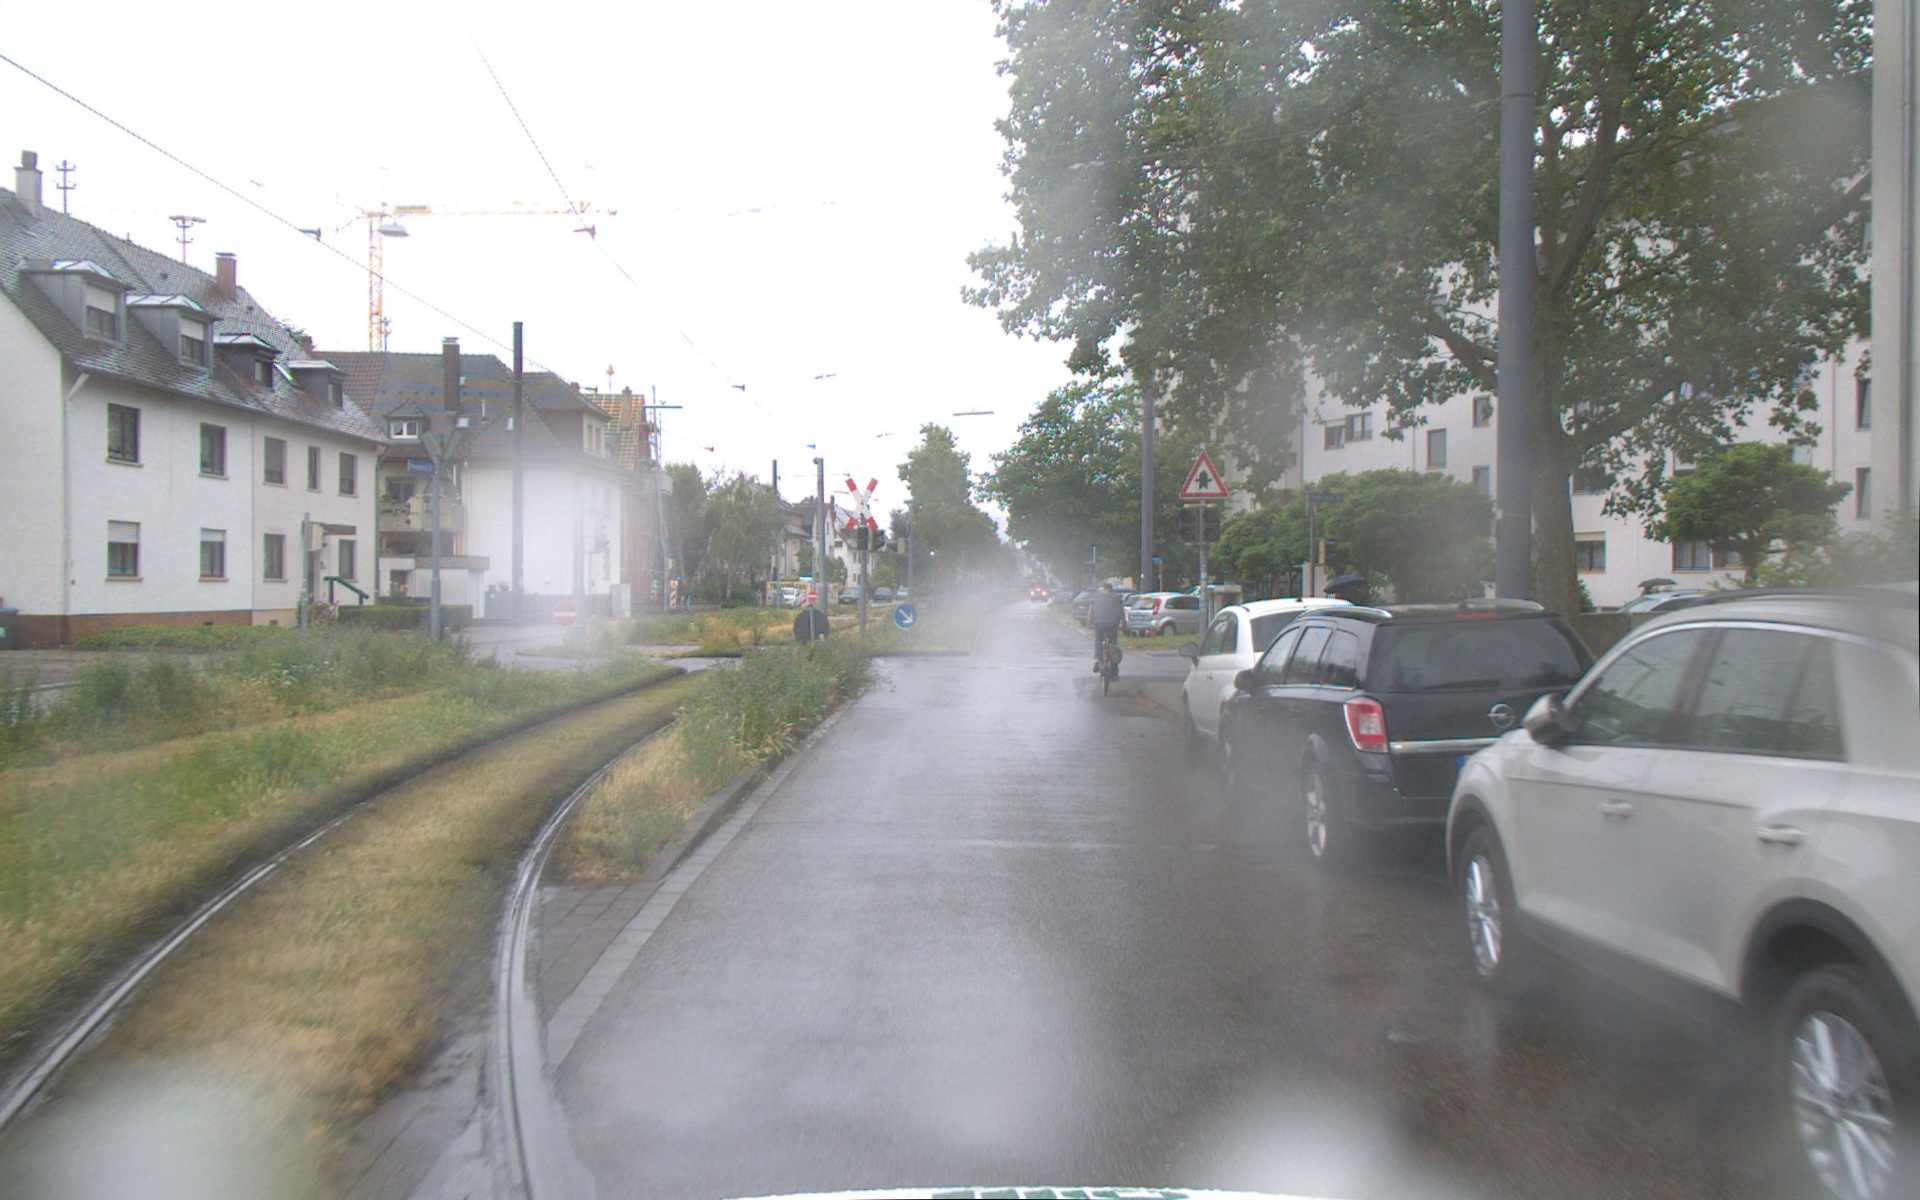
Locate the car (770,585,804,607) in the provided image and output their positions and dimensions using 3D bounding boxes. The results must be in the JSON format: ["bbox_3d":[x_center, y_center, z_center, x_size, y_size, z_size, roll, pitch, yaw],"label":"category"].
[{"bbox_3d":[-12.805,-0.321,122.697,1.674,1.569,4.424,2,1,4],"label":"car"}]

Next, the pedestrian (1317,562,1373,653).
[{"bbox_3d":[7.935,0.146,34.169,1.076,1.845,1.435,0,0,11],"label":"pedestrian"}]

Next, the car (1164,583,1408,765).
[{"bbox_3d":[3.038,0.616,16.166,1.526,1.545,3.999,-1,0,-1],"label":"car"}]

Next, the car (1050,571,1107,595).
[{"bbox_3d":[9.449,-1.359,131.737,4.090,1.749,1.981,-3,2,-29],"label":"car"}]

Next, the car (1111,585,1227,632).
[{"bbox_3d":[7.305,0.295,57.679,3.959,1.534,1.682,-1,-1,-38],"label":"car"}]

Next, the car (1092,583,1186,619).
[{"bbox_3d":[7.562,0.039,69.717,3.962,1.454,1.710,-1,1,-40],"label":"car"}]

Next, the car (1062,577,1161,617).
[{"bbox_3d":[6.678,-0.157,72.735,4.308,1.680,1.831,-1,1,-40],"label":"car"}]

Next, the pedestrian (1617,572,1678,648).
[{"bbox_3d":[16.348,0.227,39.368,1.154,1.799,0.721,0,0,-1],"label":"pedestrian"}]

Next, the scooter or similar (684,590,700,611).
[{"bbox_3d":[-15.716,0.032,97.080,0.385,1.201,1.283,0,0,17],"label":"scooter or similar"}]

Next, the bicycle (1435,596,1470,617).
[{"bbox_3d":[20.047,0.254,67.295,0.483,0.862,1.560,-1,0,-24],"label":"bicycle"}]

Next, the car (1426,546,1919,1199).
[{"bbox_3d":[3.000,0.661,5.130,1.861,1.602,4.111,-1,0,-2],"label":"car"}]

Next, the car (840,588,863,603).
[{"bbox_3d":[-9.988,-0.423,152.240,1.628,1.266,4.073,2,1,3],"label":"car"}]

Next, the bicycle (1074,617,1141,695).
[{"bbox_3d":[2.308,0.855,26.151,0.793,1.116,2.517,-1,0,-1],"label":"bicycle"}]

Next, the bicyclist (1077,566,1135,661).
[{"bbox_3d":[2.295,0.209,26.087,0.793,1.458,1.060,-1,0,-1],"label":"bicyclist"}]

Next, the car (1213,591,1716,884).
[{"bbox_3d":[2.922,0.693,10.609,1.861,1.474,4.183,-1,0,-1],"label":"car"}]

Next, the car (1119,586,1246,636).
[{"bbox_3d":[7.323,0.354,54.345,3.953,1.534,1.762,-1,-1,-35],"label":"car"}]

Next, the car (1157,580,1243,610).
[{"bbox_3d":[14.280,-0.306,98.492,4.719,1.776,1.994,0,0,-13],"label":"car"}]

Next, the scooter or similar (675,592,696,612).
[{"bbox_3d":[-15.614,0.103,93.973,0.432,1.149,1.280,0,0,32],"label":"scooter or similar"}]
